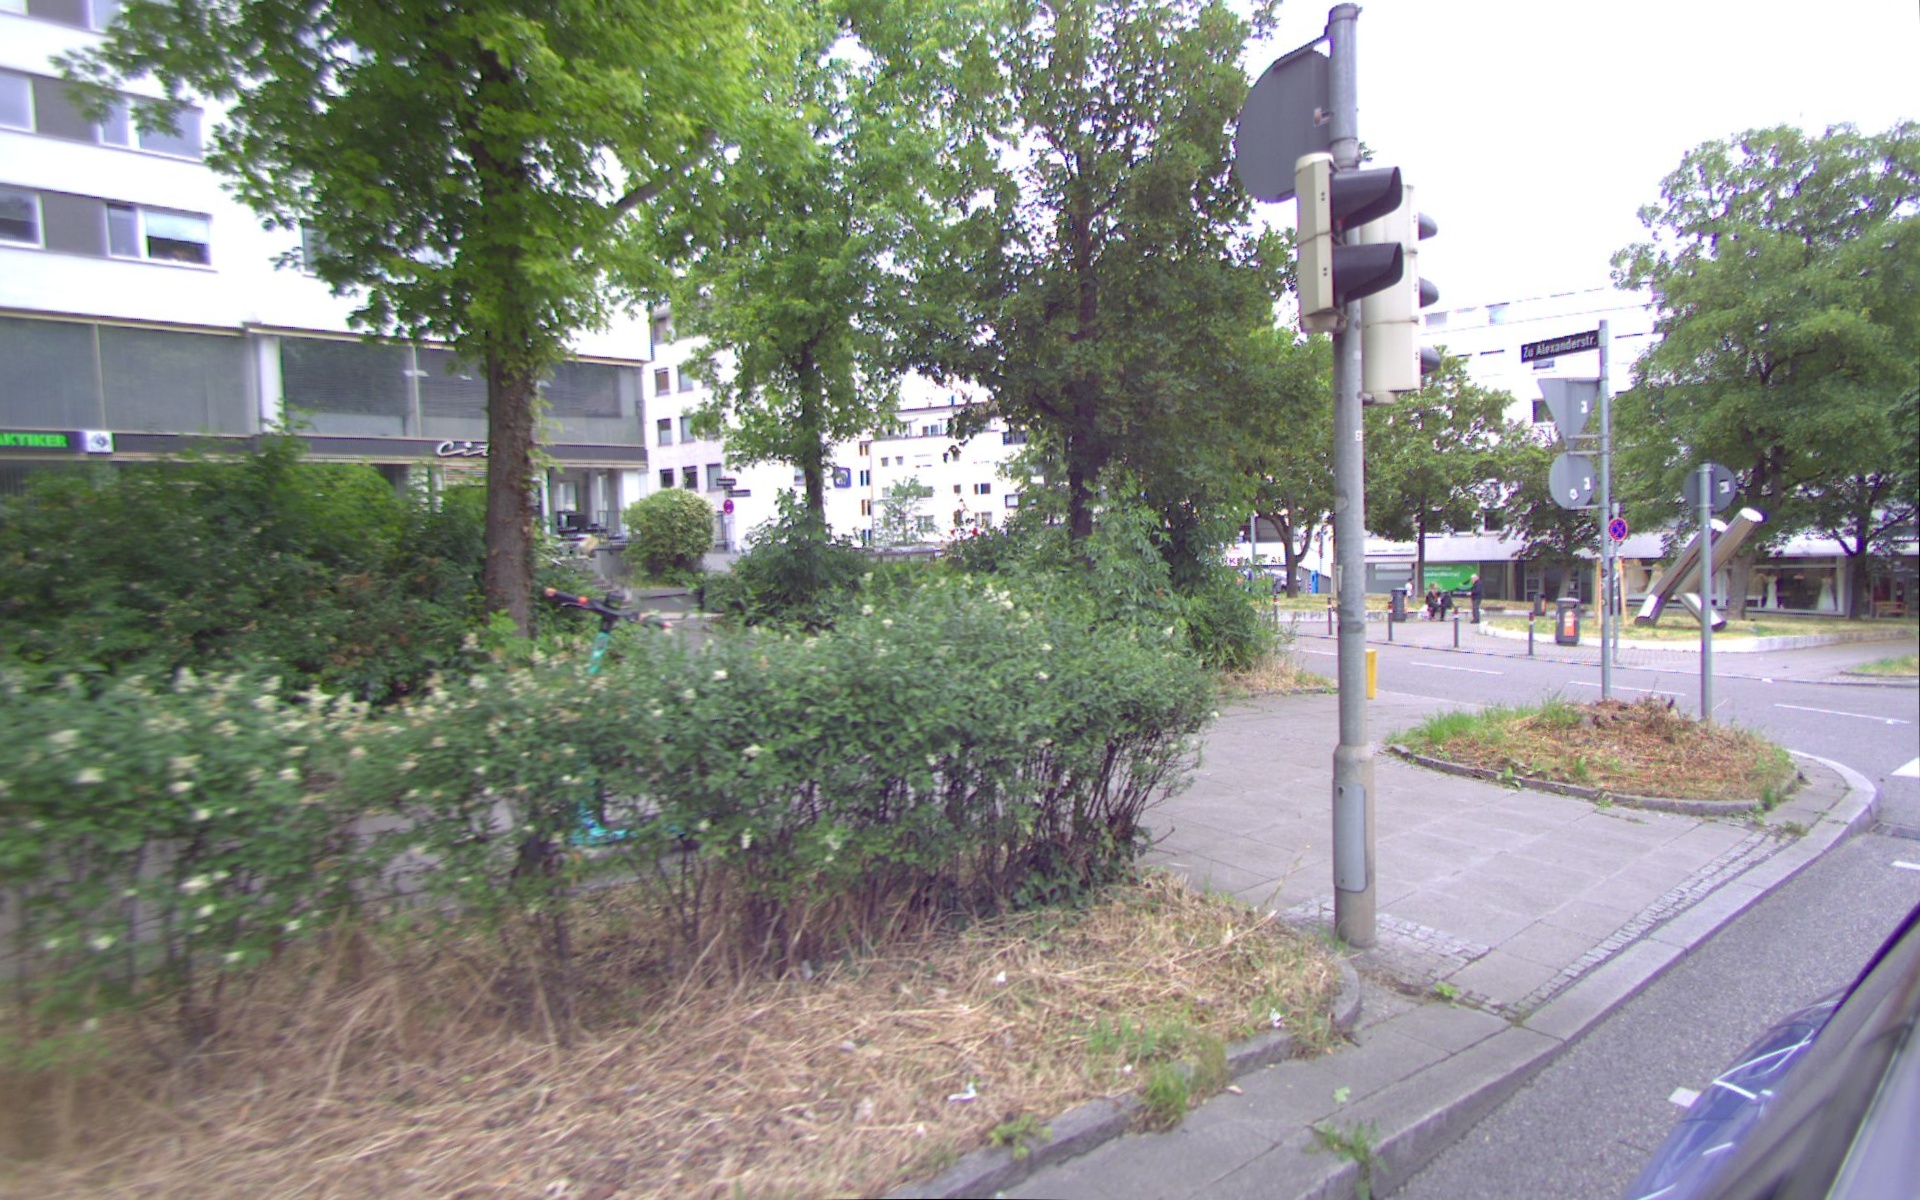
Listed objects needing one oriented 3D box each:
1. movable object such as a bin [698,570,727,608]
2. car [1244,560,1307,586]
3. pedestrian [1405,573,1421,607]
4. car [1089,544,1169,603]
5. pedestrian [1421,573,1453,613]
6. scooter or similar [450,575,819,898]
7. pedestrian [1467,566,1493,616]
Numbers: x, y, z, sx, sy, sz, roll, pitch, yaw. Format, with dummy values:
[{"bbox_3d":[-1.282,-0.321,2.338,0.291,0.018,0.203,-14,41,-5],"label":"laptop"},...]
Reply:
[{"bbox_3d":[-7.268,-0.335,29.692,0.549,1.092,0.603,1,1,32],"label":"movable object such as a bin"},{"bbox_3d":[22.529,-1.889,72.286,3.982,1.708,1.664,-1,-1,41],"label":"car"},{"bbox_3d":[20.895,-0.481,46.704,0.520,1.552,0.671,1,1,13],"label":"pedestrian"},{"bbox_3d":[7.025,-1.083,41.592,2.104,2.241,4.854,1,1,24],"label":"car"},{"bbox_3d":[15.896,-0.252,33.718,0.671,1.308,0.657,0,1,-28],"label":"pedestrian"},{"bbox_3d":[-1.424,0.503,4.654,0.629,1.225,1.536,2,2,37],"label":"scooter or similar"},{"bbox_3d":[17.149,-0.306,33.383,0.720,1.622,0.785,1,1,29],"label":"pedestrian"}]
